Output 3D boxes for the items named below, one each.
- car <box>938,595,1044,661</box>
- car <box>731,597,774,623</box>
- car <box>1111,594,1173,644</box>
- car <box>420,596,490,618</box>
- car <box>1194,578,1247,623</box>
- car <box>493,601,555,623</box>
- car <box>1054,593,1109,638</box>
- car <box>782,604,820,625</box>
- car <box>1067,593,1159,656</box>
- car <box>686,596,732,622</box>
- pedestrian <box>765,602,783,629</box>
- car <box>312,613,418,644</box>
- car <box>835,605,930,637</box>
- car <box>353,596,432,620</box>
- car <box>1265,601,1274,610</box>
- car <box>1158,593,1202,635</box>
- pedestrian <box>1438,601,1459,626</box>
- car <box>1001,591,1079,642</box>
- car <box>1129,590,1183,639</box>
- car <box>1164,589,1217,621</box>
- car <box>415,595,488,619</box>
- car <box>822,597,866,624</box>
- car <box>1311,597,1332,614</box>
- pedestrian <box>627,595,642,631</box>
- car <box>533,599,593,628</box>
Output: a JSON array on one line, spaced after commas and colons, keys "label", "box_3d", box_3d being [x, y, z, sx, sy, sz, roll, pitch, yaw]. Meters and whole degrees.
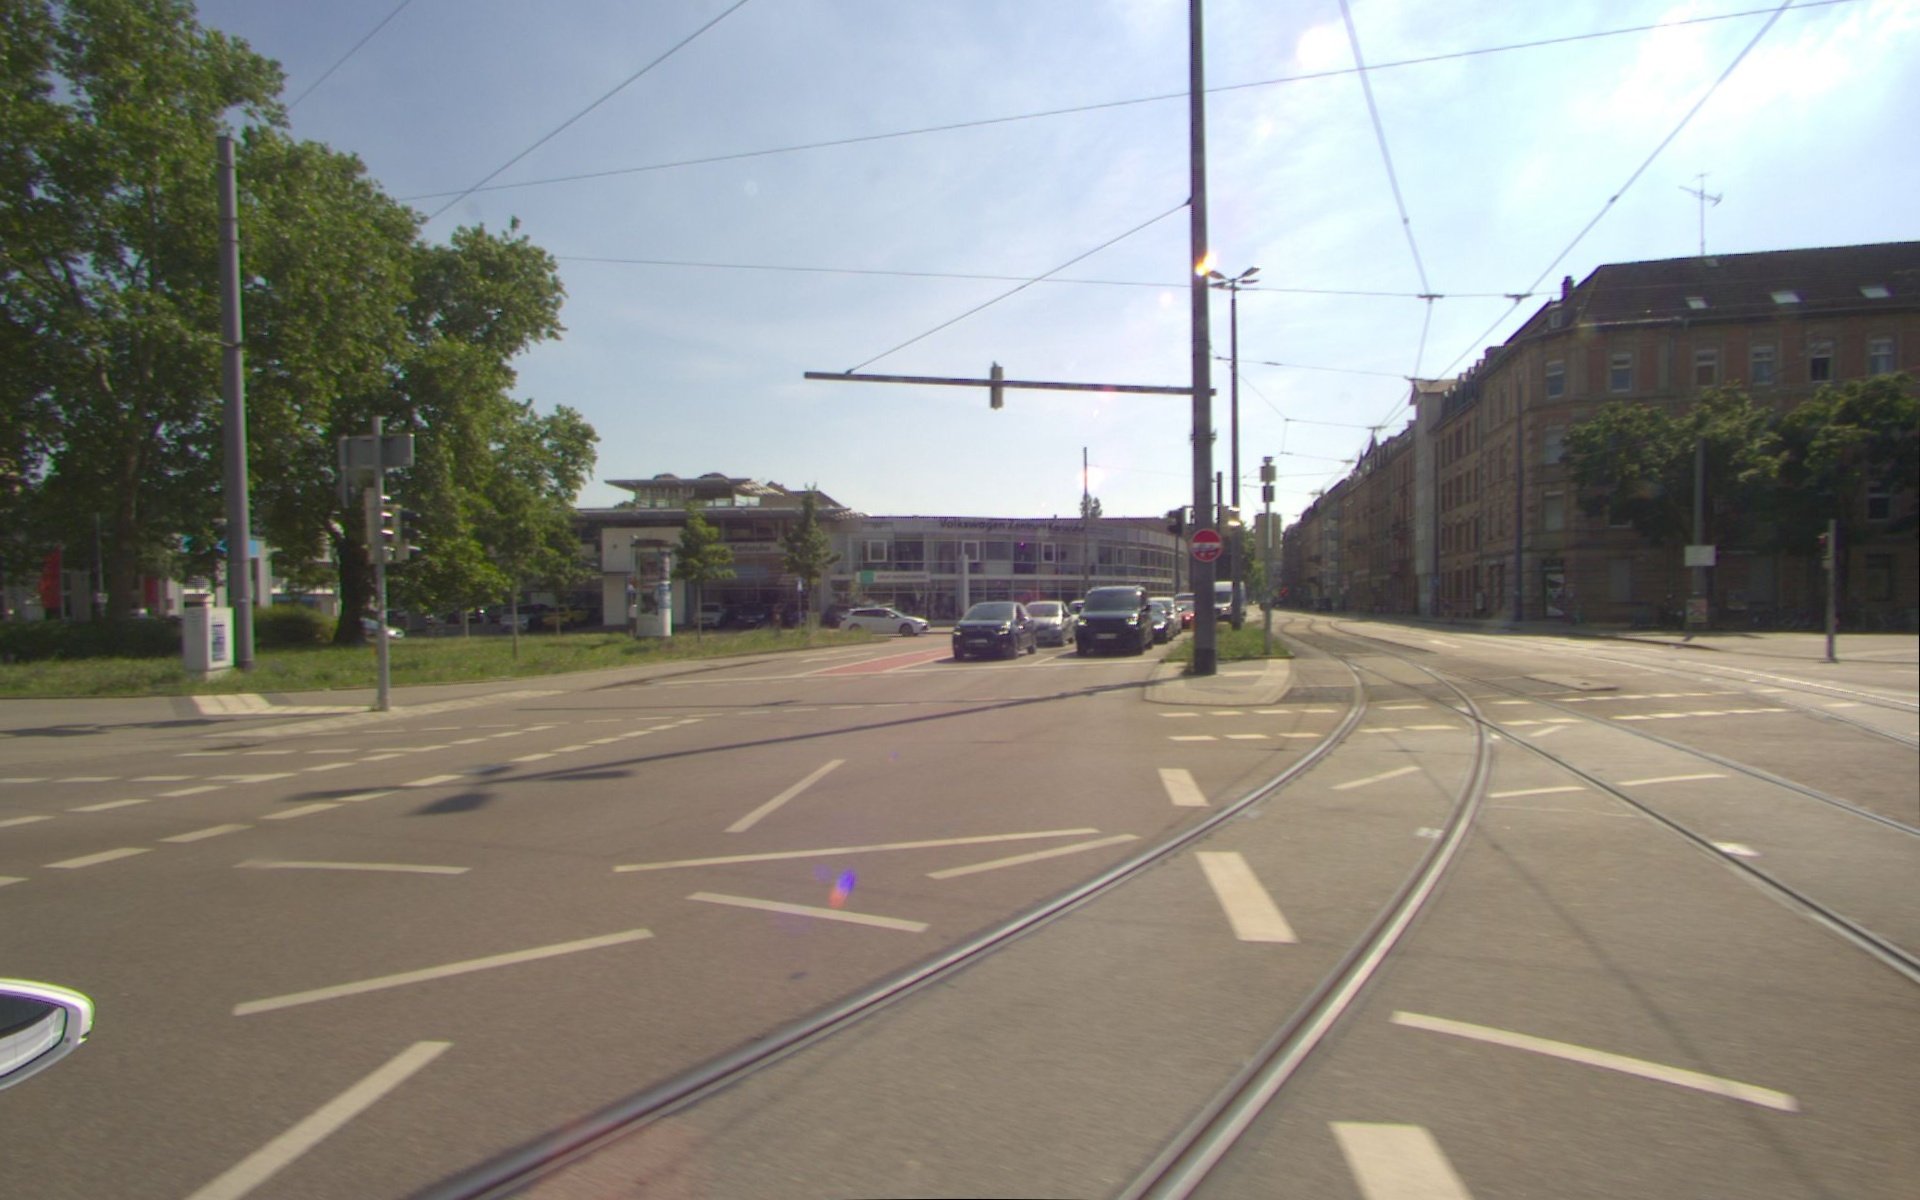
[{"label": "car", "box_3d": [0.937, 0.703, 27.167, 1.864, 1.609, 4.203, -2, 0, 16]}, {"label": "car", "box_3d": [-13.119, 0.625, 63.452, 1.961, 1.505, 4.000, 2, 0, -2]}, {"label": "car", "box_3d": [6.288, 0.671, 34.364, 1.865, 1.608, 3.997, 0, -1, 14]}, {"label": "car", "box_3d": [-35.505, 0.486, 70.437, 3.922, 1.528, 1.999, 0, 0, -2]}, {"label": "car", "box_3d": [16.497, 0.067, 63.176, 2.179, 2.609, 5.857, 2, -1, 25]}, {"label": "car", "box_3d": [-27.709, 0.751, 63.828, 1.961, 1.260, 4.000, 2, 0, 4]}, {"label": "car", "box_3d": [5.061, 0.642, 41.327, 1.626, 1.761, 4.196, 0, -1, 16]}, {"label": "car", "box_3d": [-9.987, 0.911, 63.086, 1.801, 1.210, 4.000, 2, 0, -2]}, {"label": "car", "box_3d": [4.341, 0.619, 27.801, 1.932, 1.609, 4.709, 0, 0, 16]}, {"label": "car", "box_3d": [-15.858, 0.582, 63.461, 1.961, 1.505, 4.000, 2, 0, -2]}, {"label": "pedestrian", "box_3d": [-11.192, 0.945, 60.251, 0.938, 1.601, 0.534, 2, 0, -4]}, {"label": "car", "box_3d": [-31.737, 1.488, 53.466, 4.510, 1.455, 1.973, 2, 0, 4]}, {"label": "car", "box_3d": [-3.920, 1.056, 50.656, 4.513, 1.455, 1.443, 2, 0, 13]}, {"label": "car", "box_3d": [-36.626, 0.535, 64.714, 3.922, 1.389, 2.000, 2, 0, -1]}, {"label": "car", "box_3d": [71.710, 1.336, 232.171, 1.964, 2.040, 3.992, 0, 0, 19]}, {"label": "car", "box_3d": [10.712, 0.699, 48.583, 1.866, 1.941, 4.196, 0, -1, 16]}, {"label": "pedestrian", "box_3d": [28.600, 0.799, 58.600, 0.703, 1.452, 0.881, -1, 1, -34]}, {"label": "car", "box_3d": [2.780, 0.581, 33.989, 1.866, 1.608, 3.995, 0, -1, 16]}, {"label": "car", "box_3d": [8.207, 0.612, 41.668, 1.866, 1.941, 4.196, 0, -1, 16]}, {"label": "car", "box_3d": [12.965, 0.274, 56.057, 2.155, 1.703, 5.016, 0, 0, 22]}, {"label": "car", "box_3d": [-34.398, 0.486, 67.771, 3.922, 1.573, 1.999, 0, 0, -2]}, {"label": "car", "box_3d": [-7.553, 0.643, 64.800, 1.796, 1.639, 3.987, 2, -1, -23]}, {"label": "car", "box_3d": [46.487, 0.694, 128.969, 2.076, 2.040, 3.997, 2, -1, 14]}, {"label": "pedestrian", "box_3d": [-14.609, 0.580, 44.976, 0.387, 1.617, 0.463, 2, 0, 23]}, {"label": "car", "box_3d": [-25.397, 0.862, 64.238, 1.961, 1.706, 4.000, 2, -1, 4]}]
